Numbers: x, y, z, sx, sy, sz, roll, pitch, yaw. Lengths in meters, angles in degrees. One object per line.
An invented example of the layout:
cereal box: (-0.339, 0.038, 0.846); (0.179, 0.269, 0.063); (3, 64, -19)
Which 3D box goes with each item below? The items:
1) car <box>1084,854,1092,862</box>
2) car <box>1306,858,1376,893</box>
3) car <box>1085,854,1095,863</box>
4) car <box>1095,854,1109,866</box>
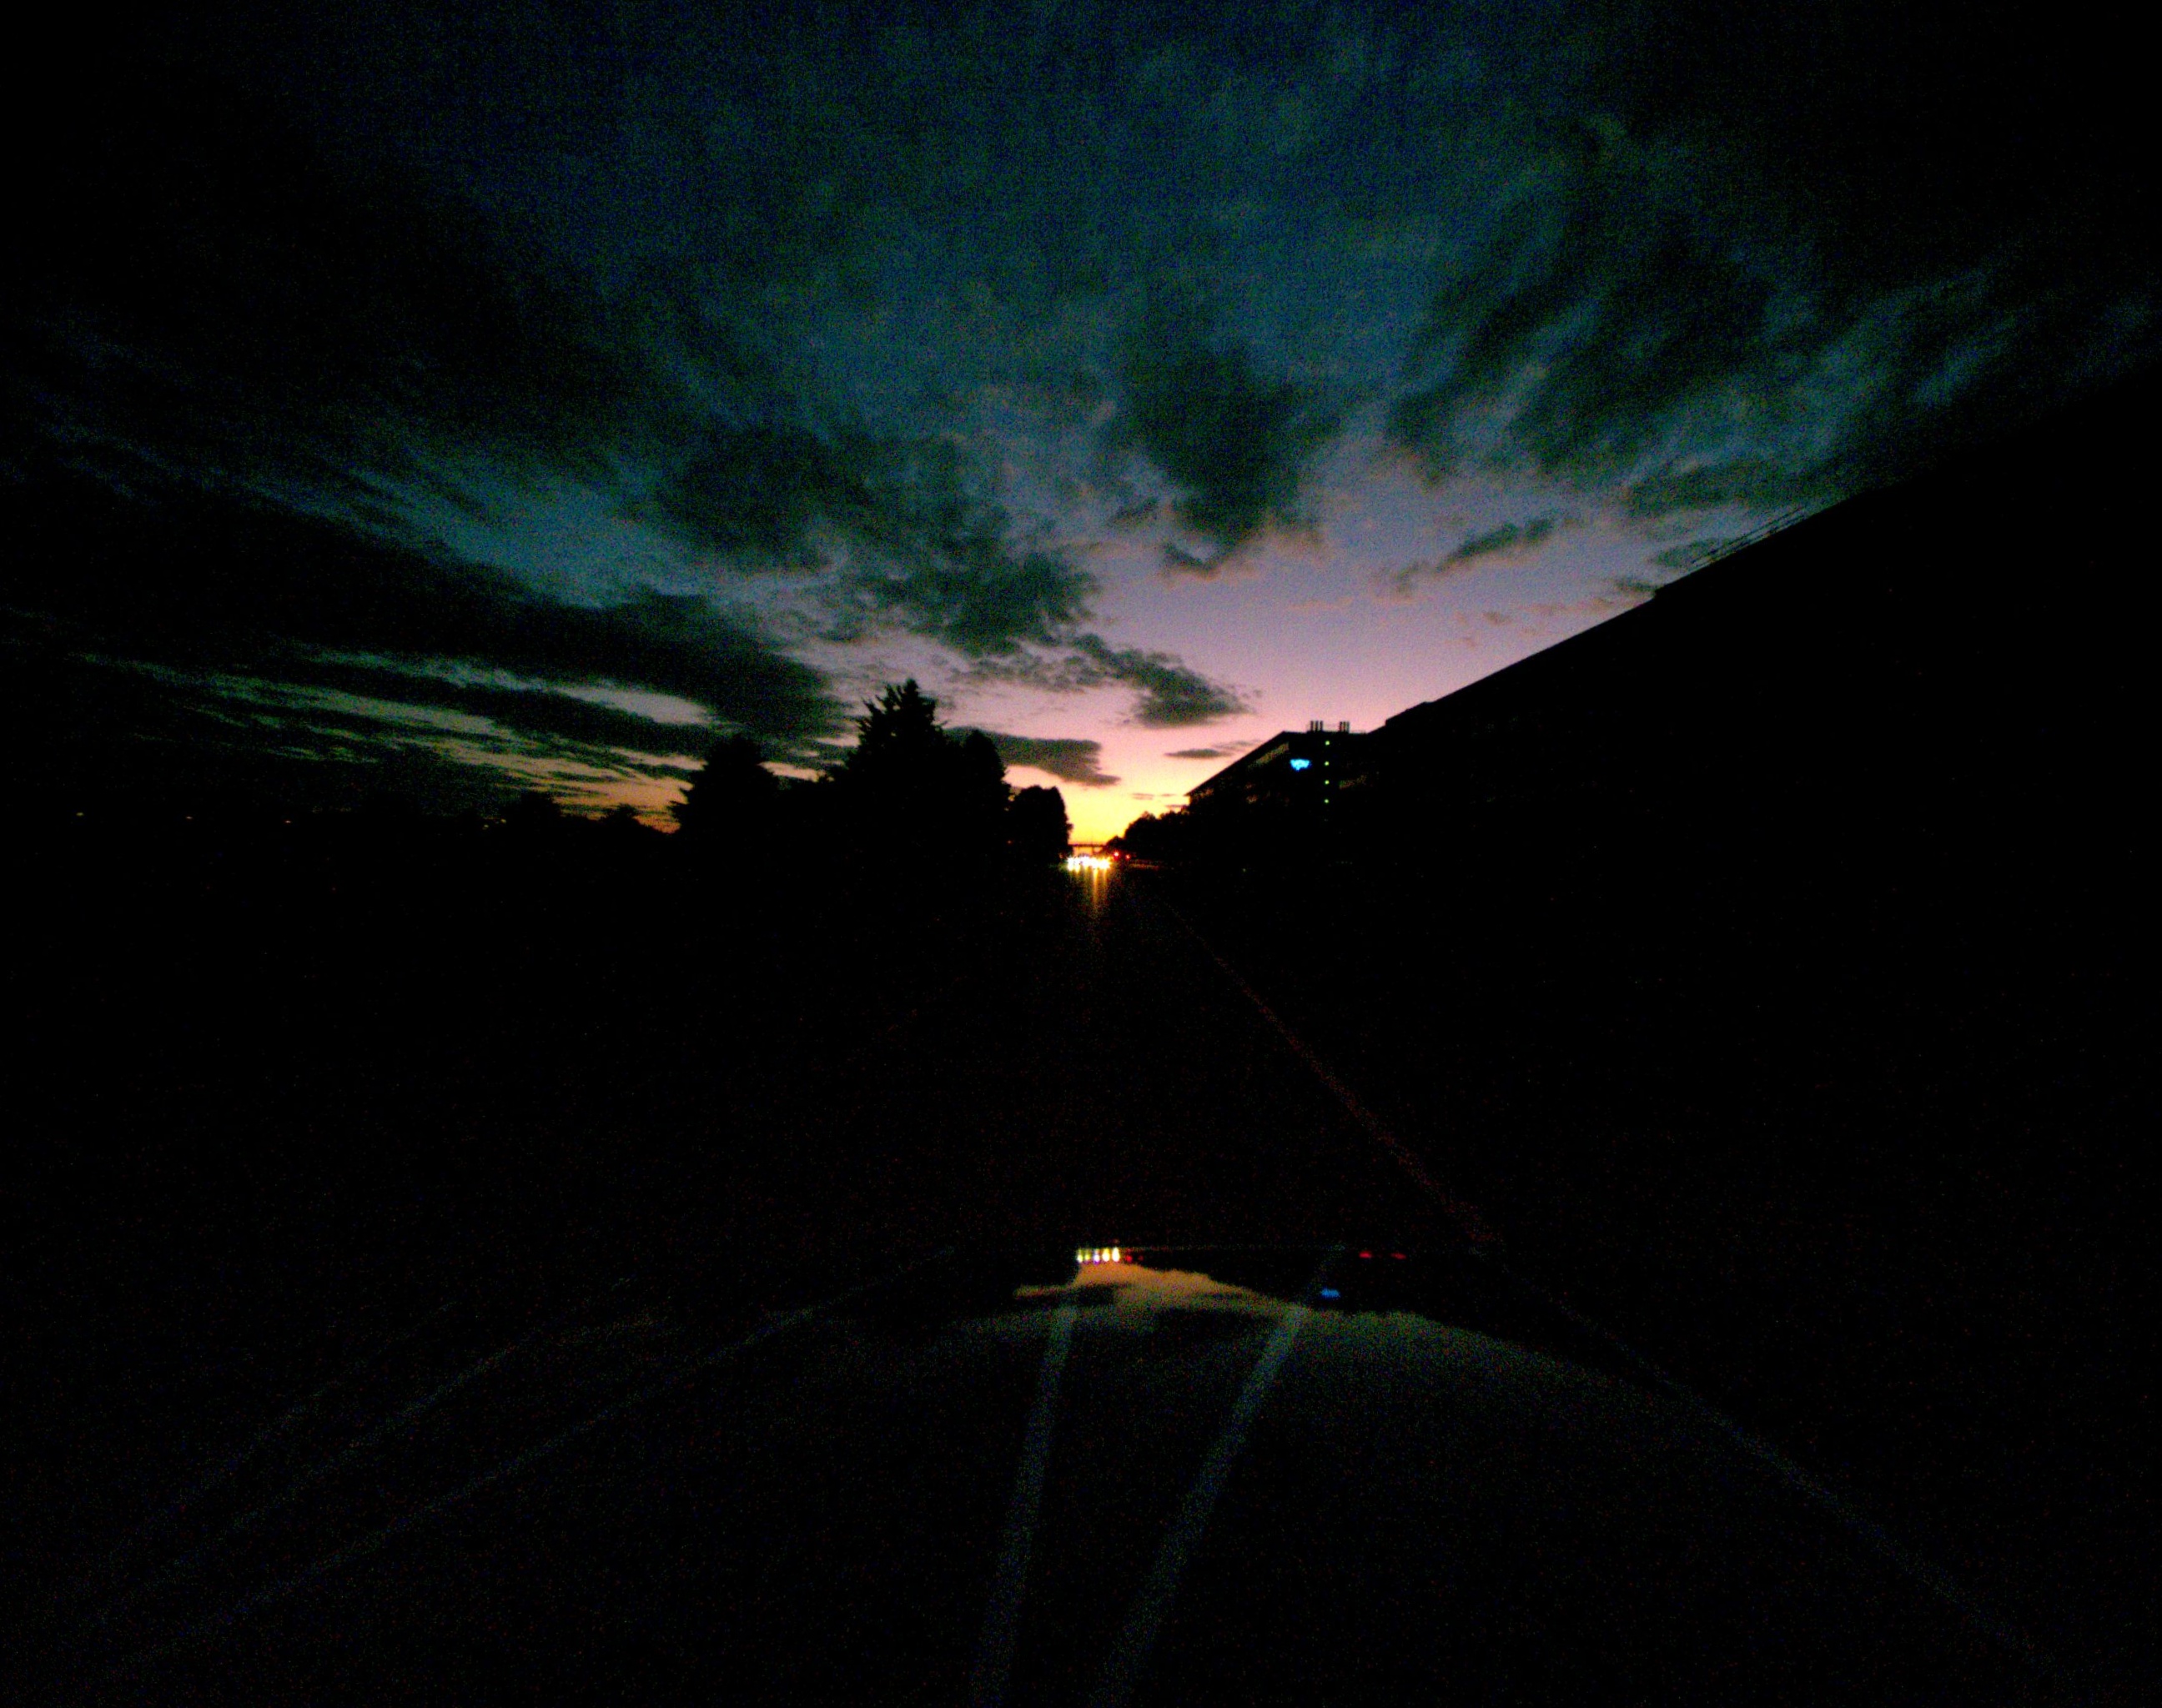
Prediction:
car: (1.770, 1.035, 193.972); (1.832, 1.739, 3.851); (-2, 0, 3)
car: (12.889, 1.012, 37.945); (1.775, 1.631, 4.660); (1, 0, -1)
car: (2.110, 0.990, 175.458); (1.861, 2.002, 4.002); (-2, 0, 7)
car: (2.628, 0.793, 97.210); (1.755, 1.447, 3.803); (0, 0, 1)
